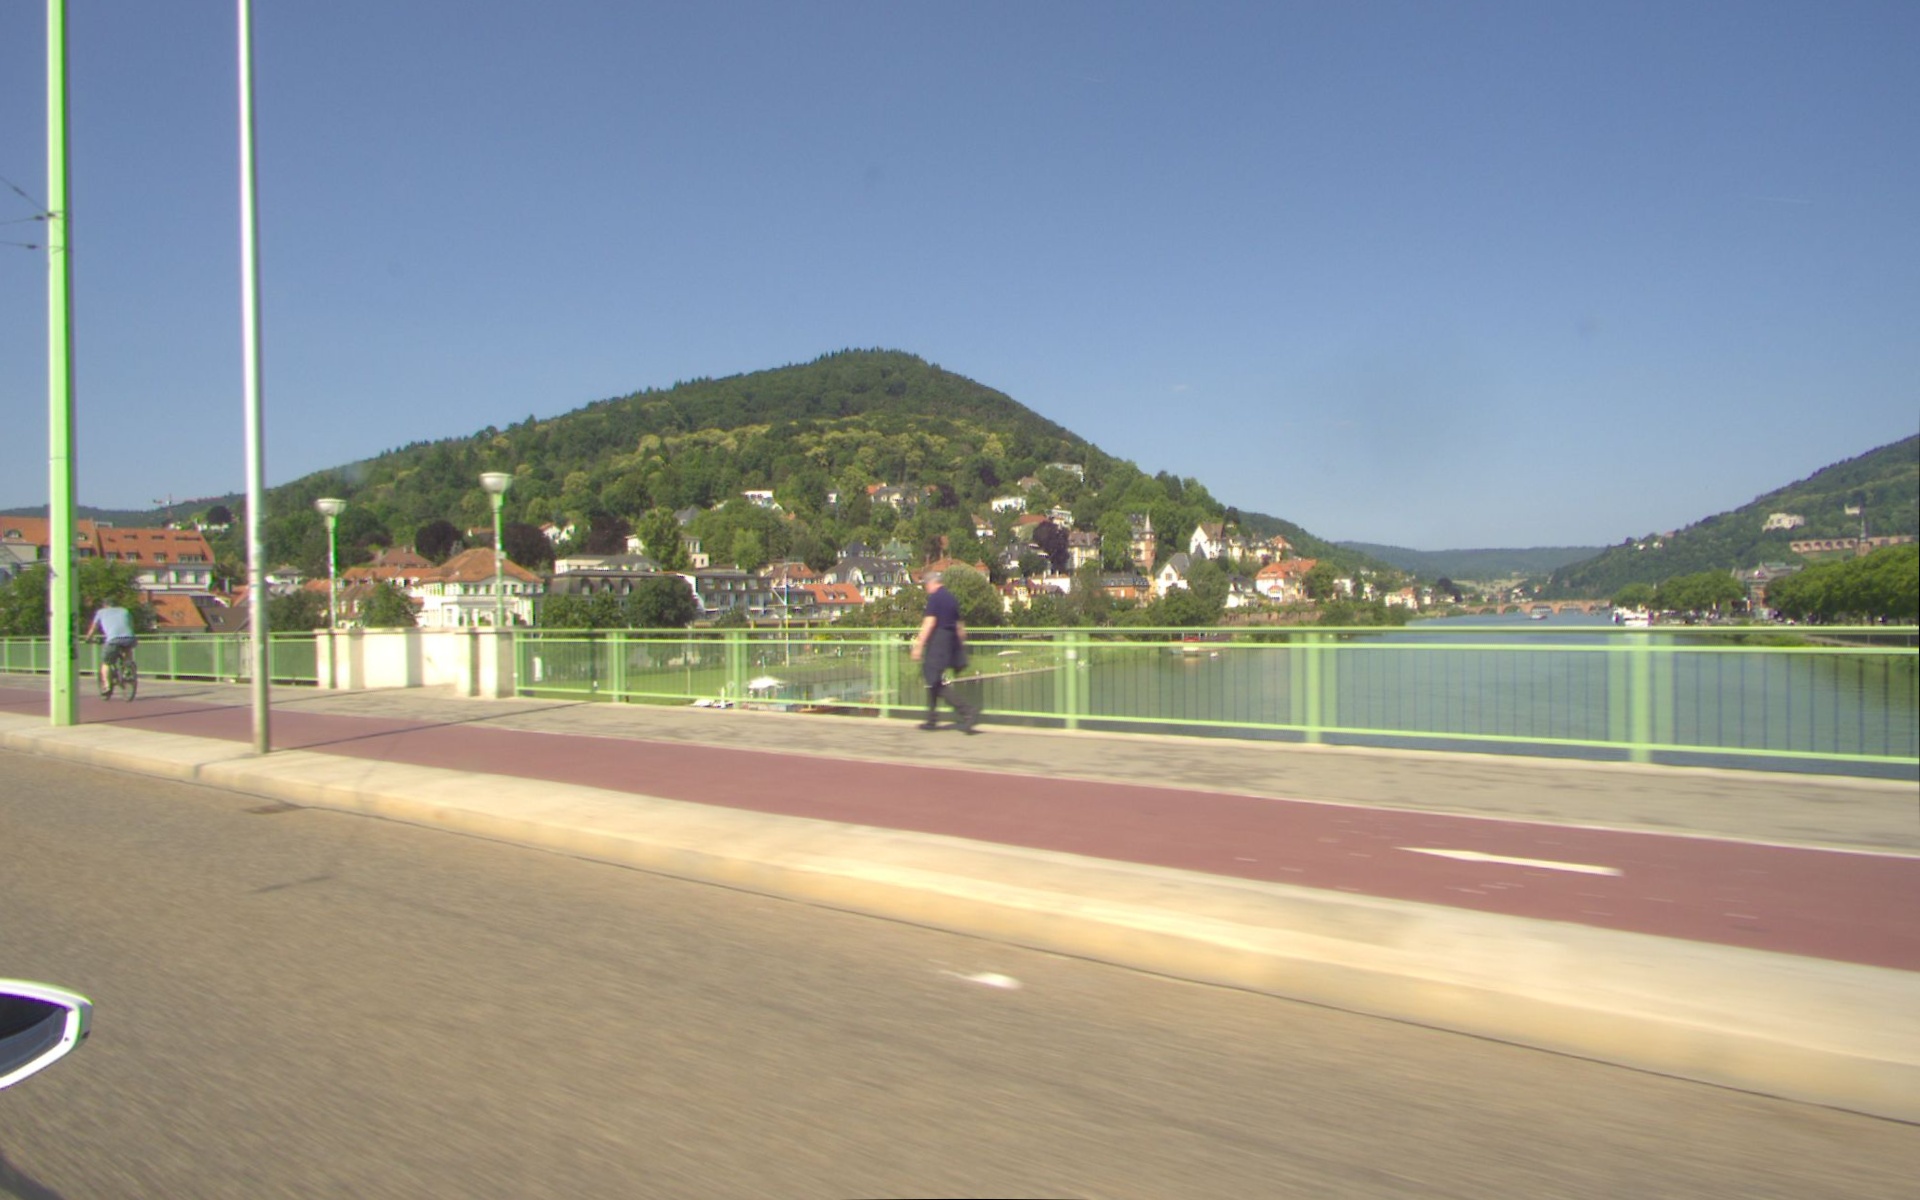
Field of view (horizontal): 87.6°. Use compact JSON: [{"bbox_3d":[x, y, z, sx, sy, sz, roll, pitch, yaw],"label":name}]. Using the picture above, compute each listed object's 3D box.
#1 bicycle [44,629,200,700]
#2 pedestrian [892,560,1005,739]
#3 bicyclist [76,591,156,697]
[{"bbox_3d":[-14.482,1.070,17.254,3.687,1.110,0.791,-1,0,29],"label":"bicycle"},{"bbox_3d":[-0.114,0.485,10.356,0.963,1.767,0.654,1,1,28],"label":"pedestrian"},{"bbox_3d":[-14.585,0.740,17.305,1.133,1.767,0.672,-1,1,29],"label":"bicyclist"}]
